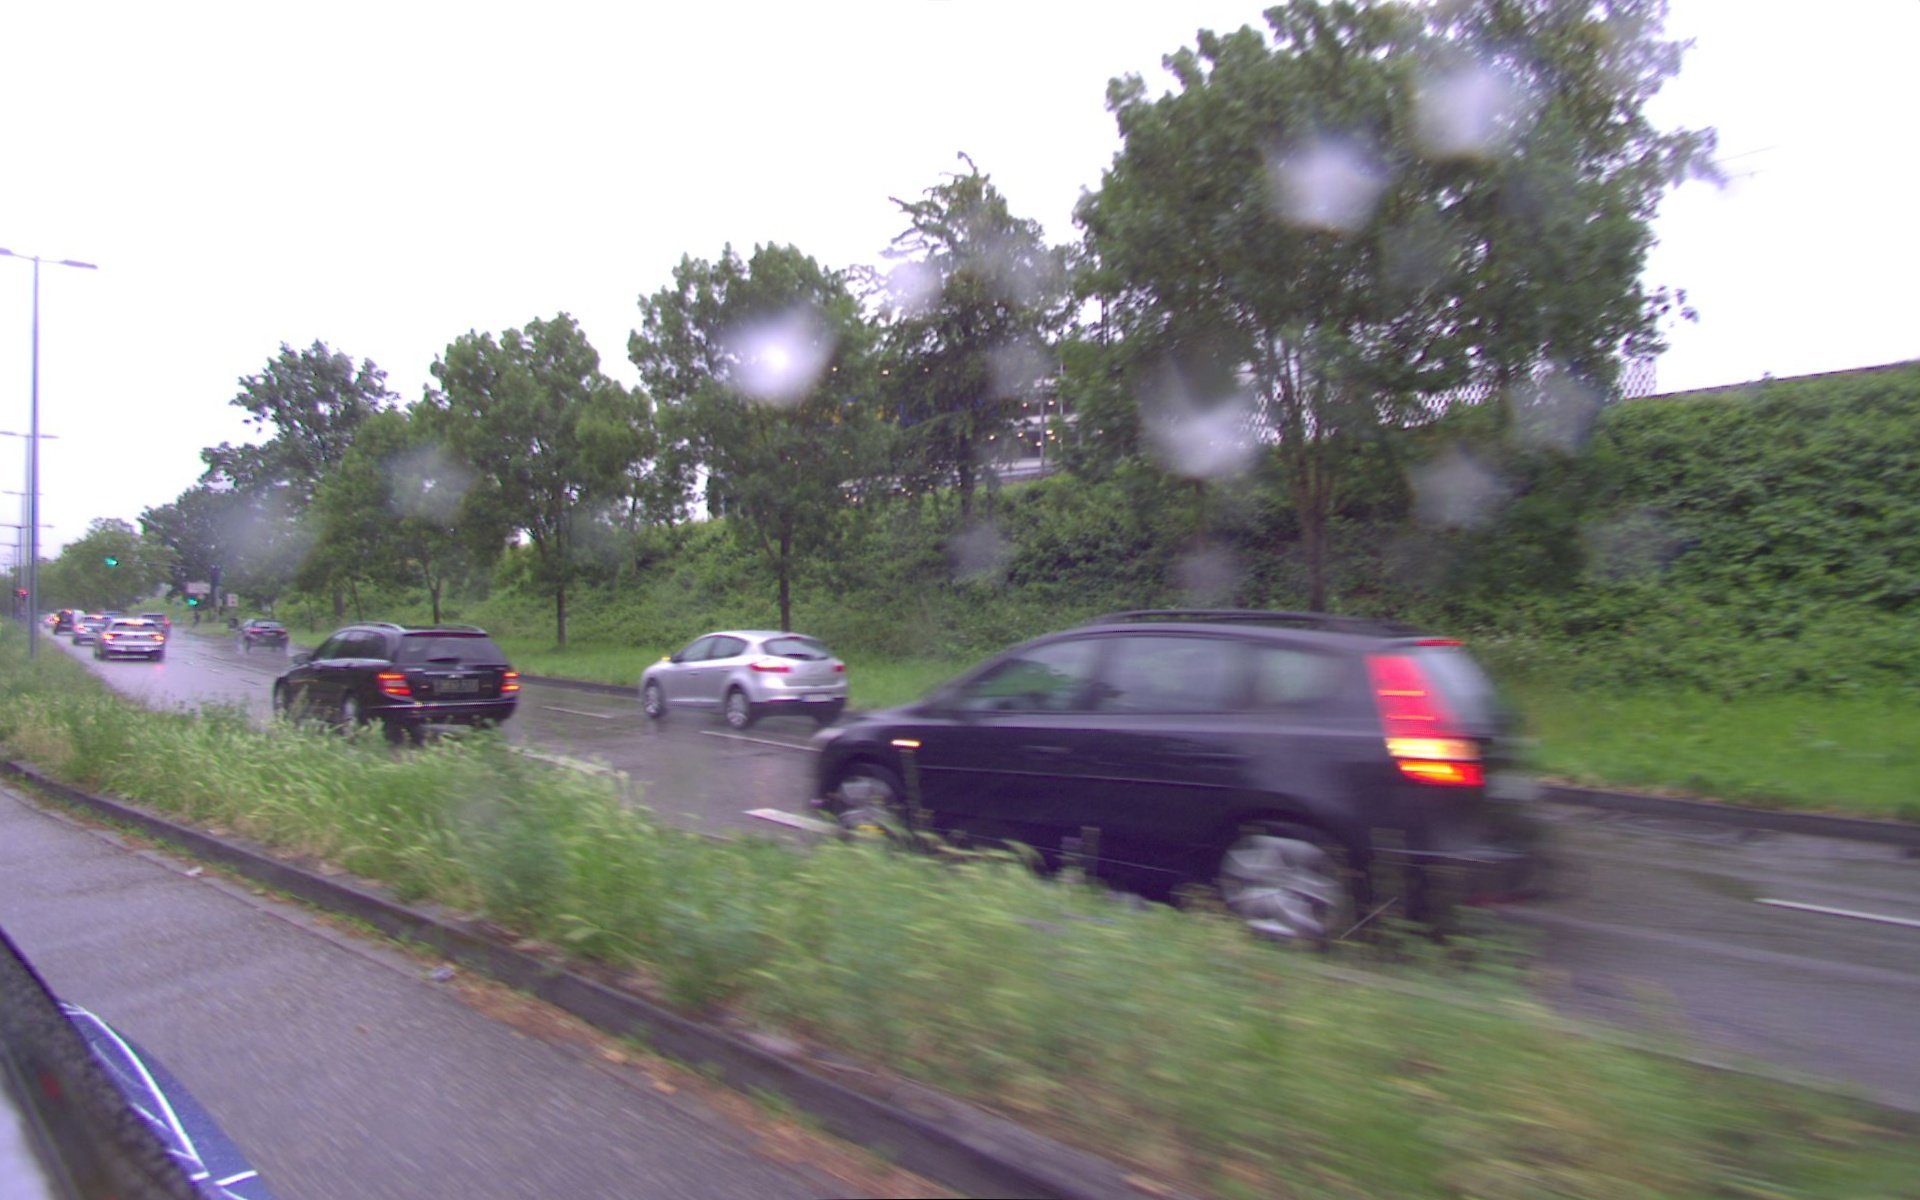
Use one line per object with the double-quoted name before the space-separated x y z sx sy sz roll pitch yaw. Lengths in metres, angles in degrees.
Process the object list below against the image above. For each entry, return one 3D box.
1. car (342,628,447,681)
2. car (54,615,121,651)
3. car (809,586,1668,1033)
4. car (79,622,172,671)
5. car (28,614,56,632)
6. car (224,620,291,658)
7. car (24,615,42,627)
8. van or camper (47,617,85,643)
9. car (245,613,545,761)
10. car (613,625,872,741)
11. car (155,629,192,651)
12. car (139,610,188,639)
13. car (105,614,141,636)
"car" -17.456 1.628 31.149 1.813 1.513 4.444 3 -3 -43
"car" -42.818 1.622 49.639 4.110 1.625 1.878 -1 -5 42
"car" 1.258 0.814 5.756 4.358 1.587 1.804 -1 -4 42
"car" -29.283 1.607 35.477 4.709 1.586 1.887 -1 -4 43
"car" -92.124 2.335 101.566 1.970 1.700 4.713 4 -4 -43
"car" -33.803 1.863 48.645 1.970 1.700 4.713 3 -3 -43
"car" -121.955 2.710 133.094 1.755 1.573 3.777 0 -1 -43
"van or camper" -62.851 2.082 71.120 1.708 1.755 4.003 4 -4 -44
"car" -7.448 1.005 13.126 4.706 1.586 1.888 -1 -3 41
"car" -3.631 1.245 16.283 1.886 1.586 4.713 5 -5 -43
"car" -65.028 3.311 83.655 1.970 1.700 4.713 4 -4 -43
"car" -49.772 1.546 63.242 1.970 1.700 4.713 4 -4 -43
"car" -65.078 1.964 78.649 1.875 1.625 4.116 4 -4 -42
